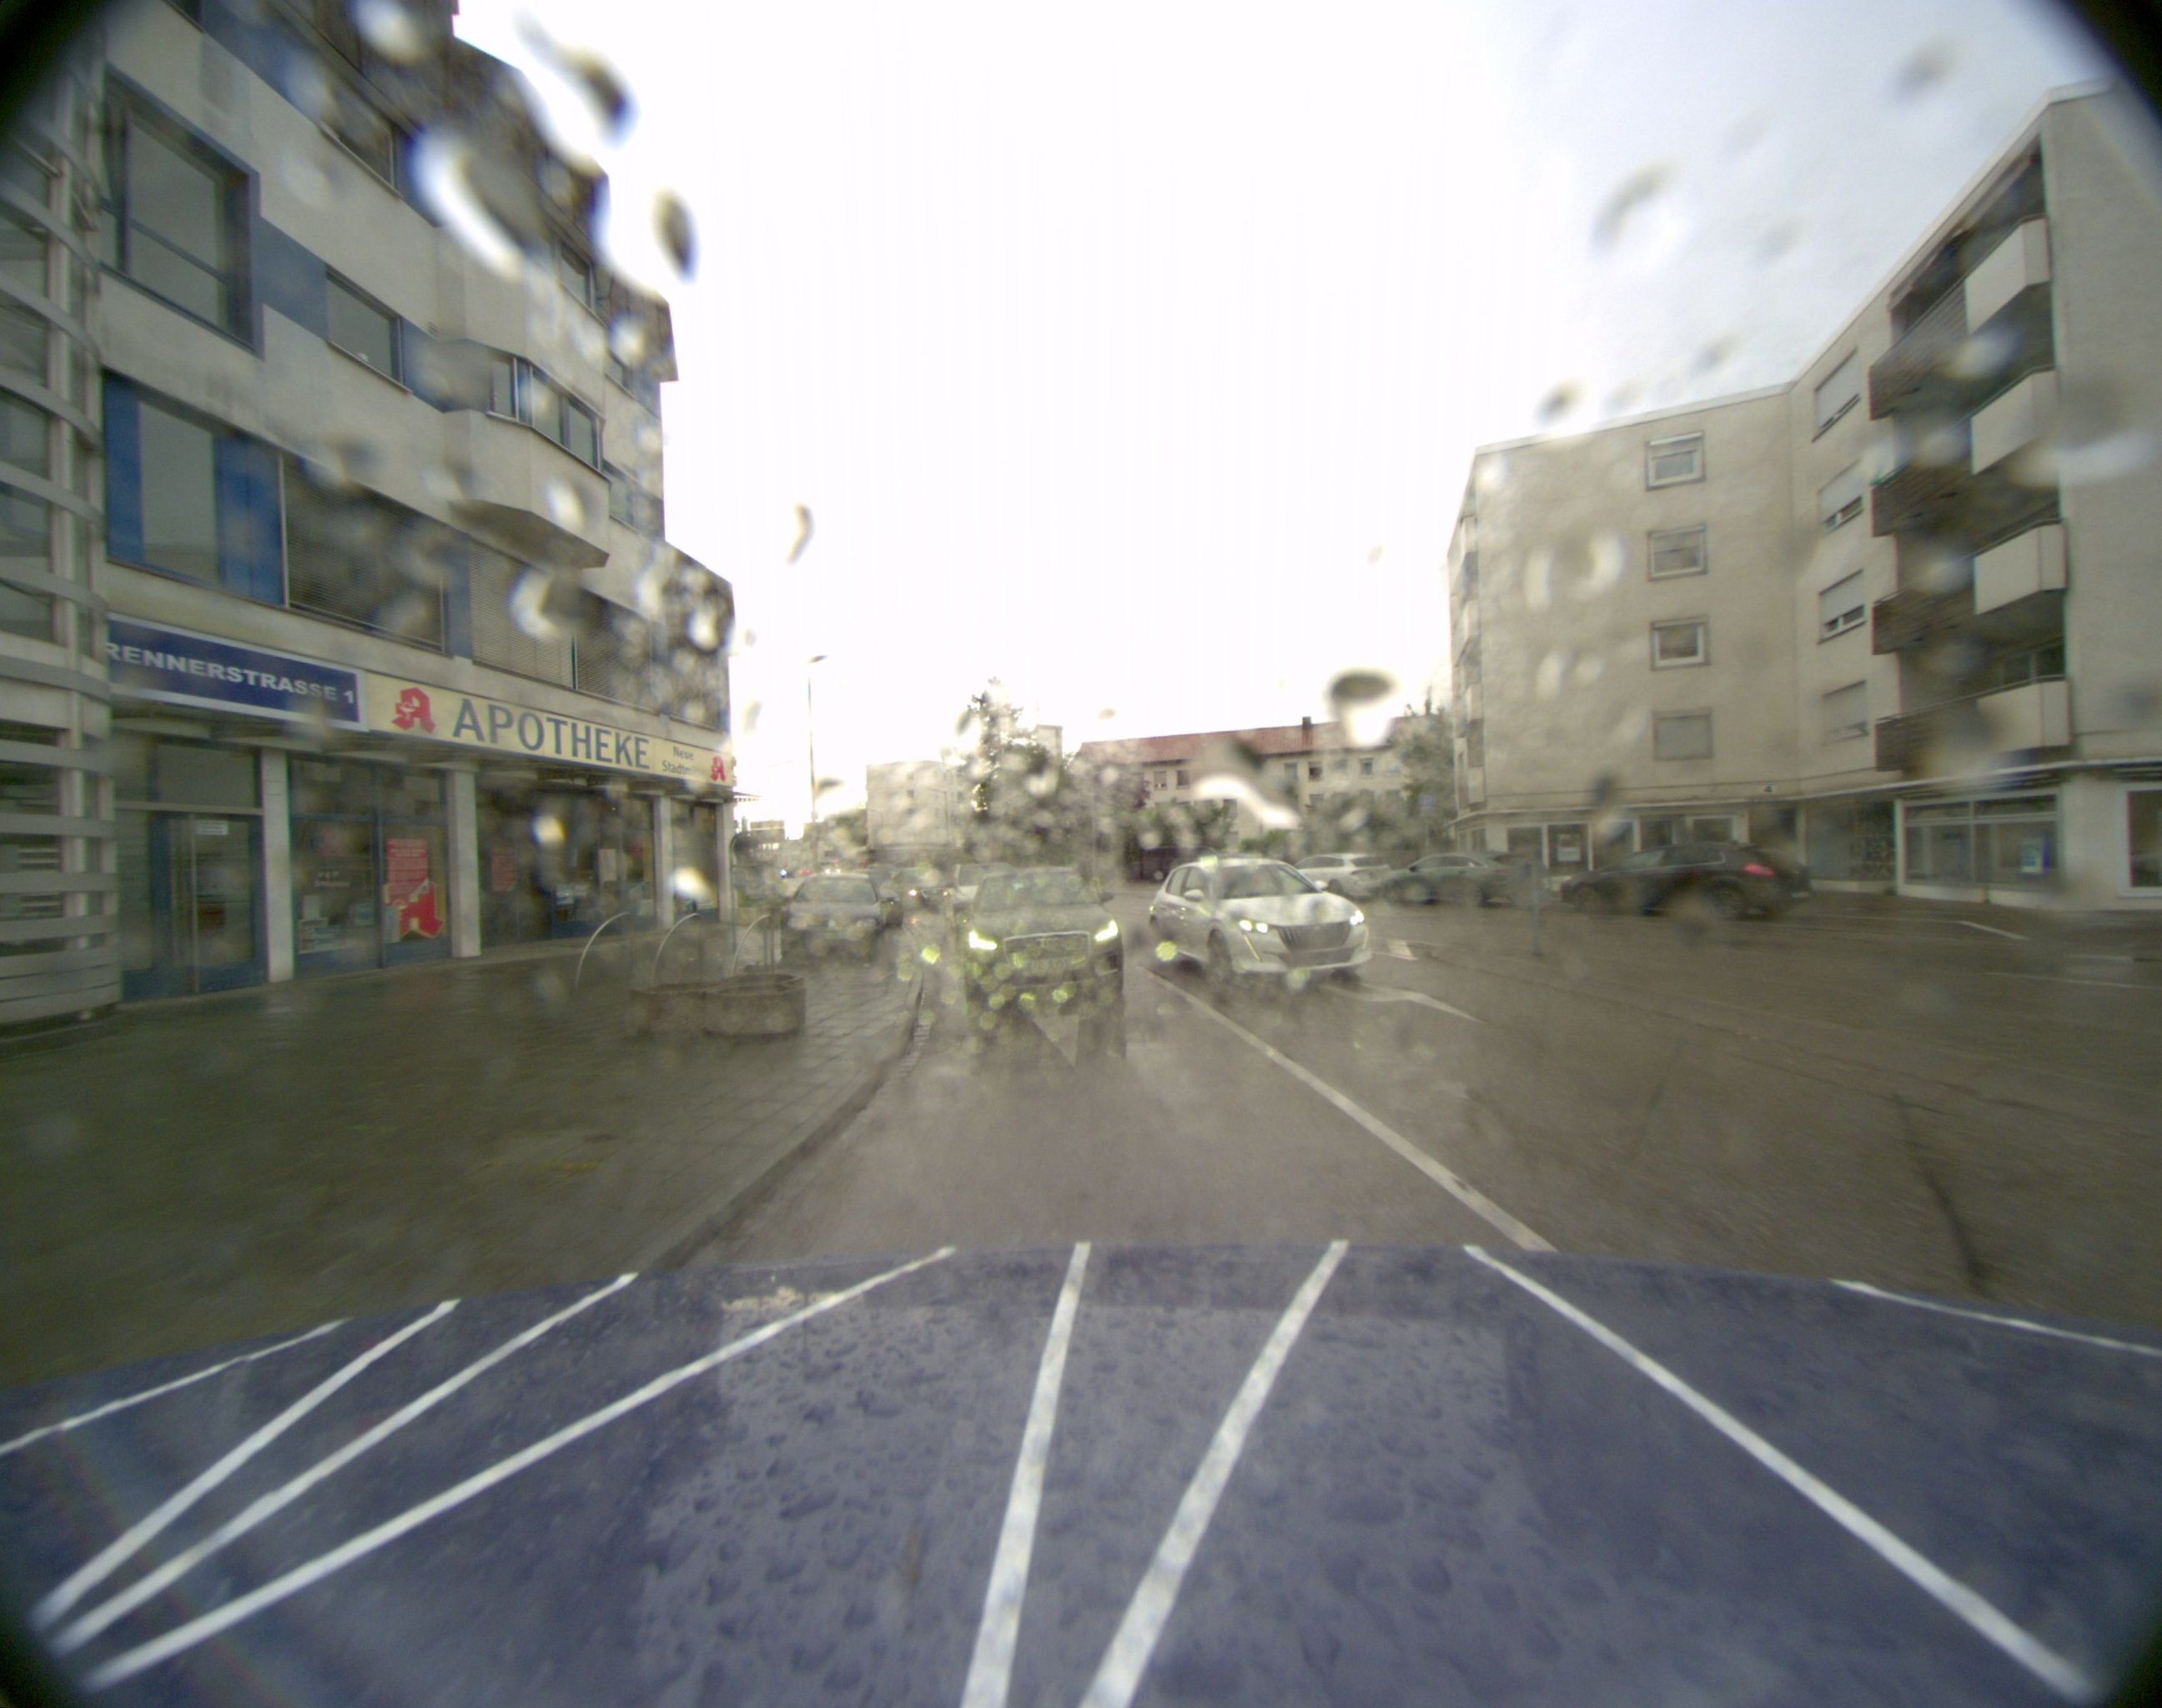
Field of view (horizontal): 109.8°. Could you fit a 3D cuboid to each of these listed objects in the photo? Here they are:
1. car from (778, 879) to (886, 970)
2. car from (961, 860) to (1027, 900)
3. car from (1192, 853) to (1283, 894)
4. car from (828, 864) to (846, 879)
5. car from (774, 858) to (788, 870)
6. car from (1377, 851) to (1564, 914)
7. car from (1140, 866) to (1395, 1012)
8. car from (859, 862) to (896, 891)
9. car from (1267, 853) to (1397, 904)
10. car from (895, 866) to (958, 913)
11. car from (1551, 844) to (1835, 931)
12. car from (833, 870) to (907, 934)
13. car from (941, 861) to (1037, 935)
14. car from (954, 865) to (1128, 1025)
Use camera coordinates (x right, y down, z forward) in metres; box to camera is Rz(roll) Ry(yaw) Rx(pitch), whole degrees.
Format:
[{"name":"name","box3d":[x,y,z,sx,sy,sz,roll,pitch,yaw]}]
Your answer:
[{"name":"car","box3d":[-4.490,1.187,14.087,1.656,1.364,3.726,0,-1,-15]},{"name":"car","box3d":[-3.623,1.015,31.056,1.753,1.446,3.806,-2,1,-21]},{"name":"car","box3d":[6.216,0.742,30.646,1.636,1.497,3.873,-2,1,-23]},{"name":"car","box3d":[-28.503,2.077,88.844,1.747,1.630,3.993,-2,1,-21]},{"name":"car","box3d":[-42.432,1.364,107.463,1.747,1.630,3.992,-2,1,-24]},{"name":"car","box3d":[10.375,0.701,20.605,1.839,1.426,4.266,-3,1,-24]},{"name":"car","box3d":[2.162,0.922,10.013,1.744,1.401,3.893,-4,0,-10]},{"name":"car","box3d":[-12.443,1.336,46.653,2.001,1.606,3.995,-4,1,-14]},{"name":"car","box3d":[8.257,0.752,25.438,1.639,1.491,4.338,-2,1,-23]},{"name":"car","box3d":[-5.452,1.176,26.480,1.803,1.361,3.967,-2,1,-16]},{"name":"car","box3d":[12.373,0.605,15.728,1.839,1.451,4.180,-3,1,-23]},{"name":"car","box3d":[-5.566,1.192,20.161,1.660,1.416,3.995,-2,0,-15]},{"name":"car","box3d":[-2.351,0.983,18.490,1.735,1.519,4.058,-2,-1,-15]},{"name":"car","box3d":[-0.670,0.956,9.785,1.735,1.436,4.043,-3,1,-8]}]
